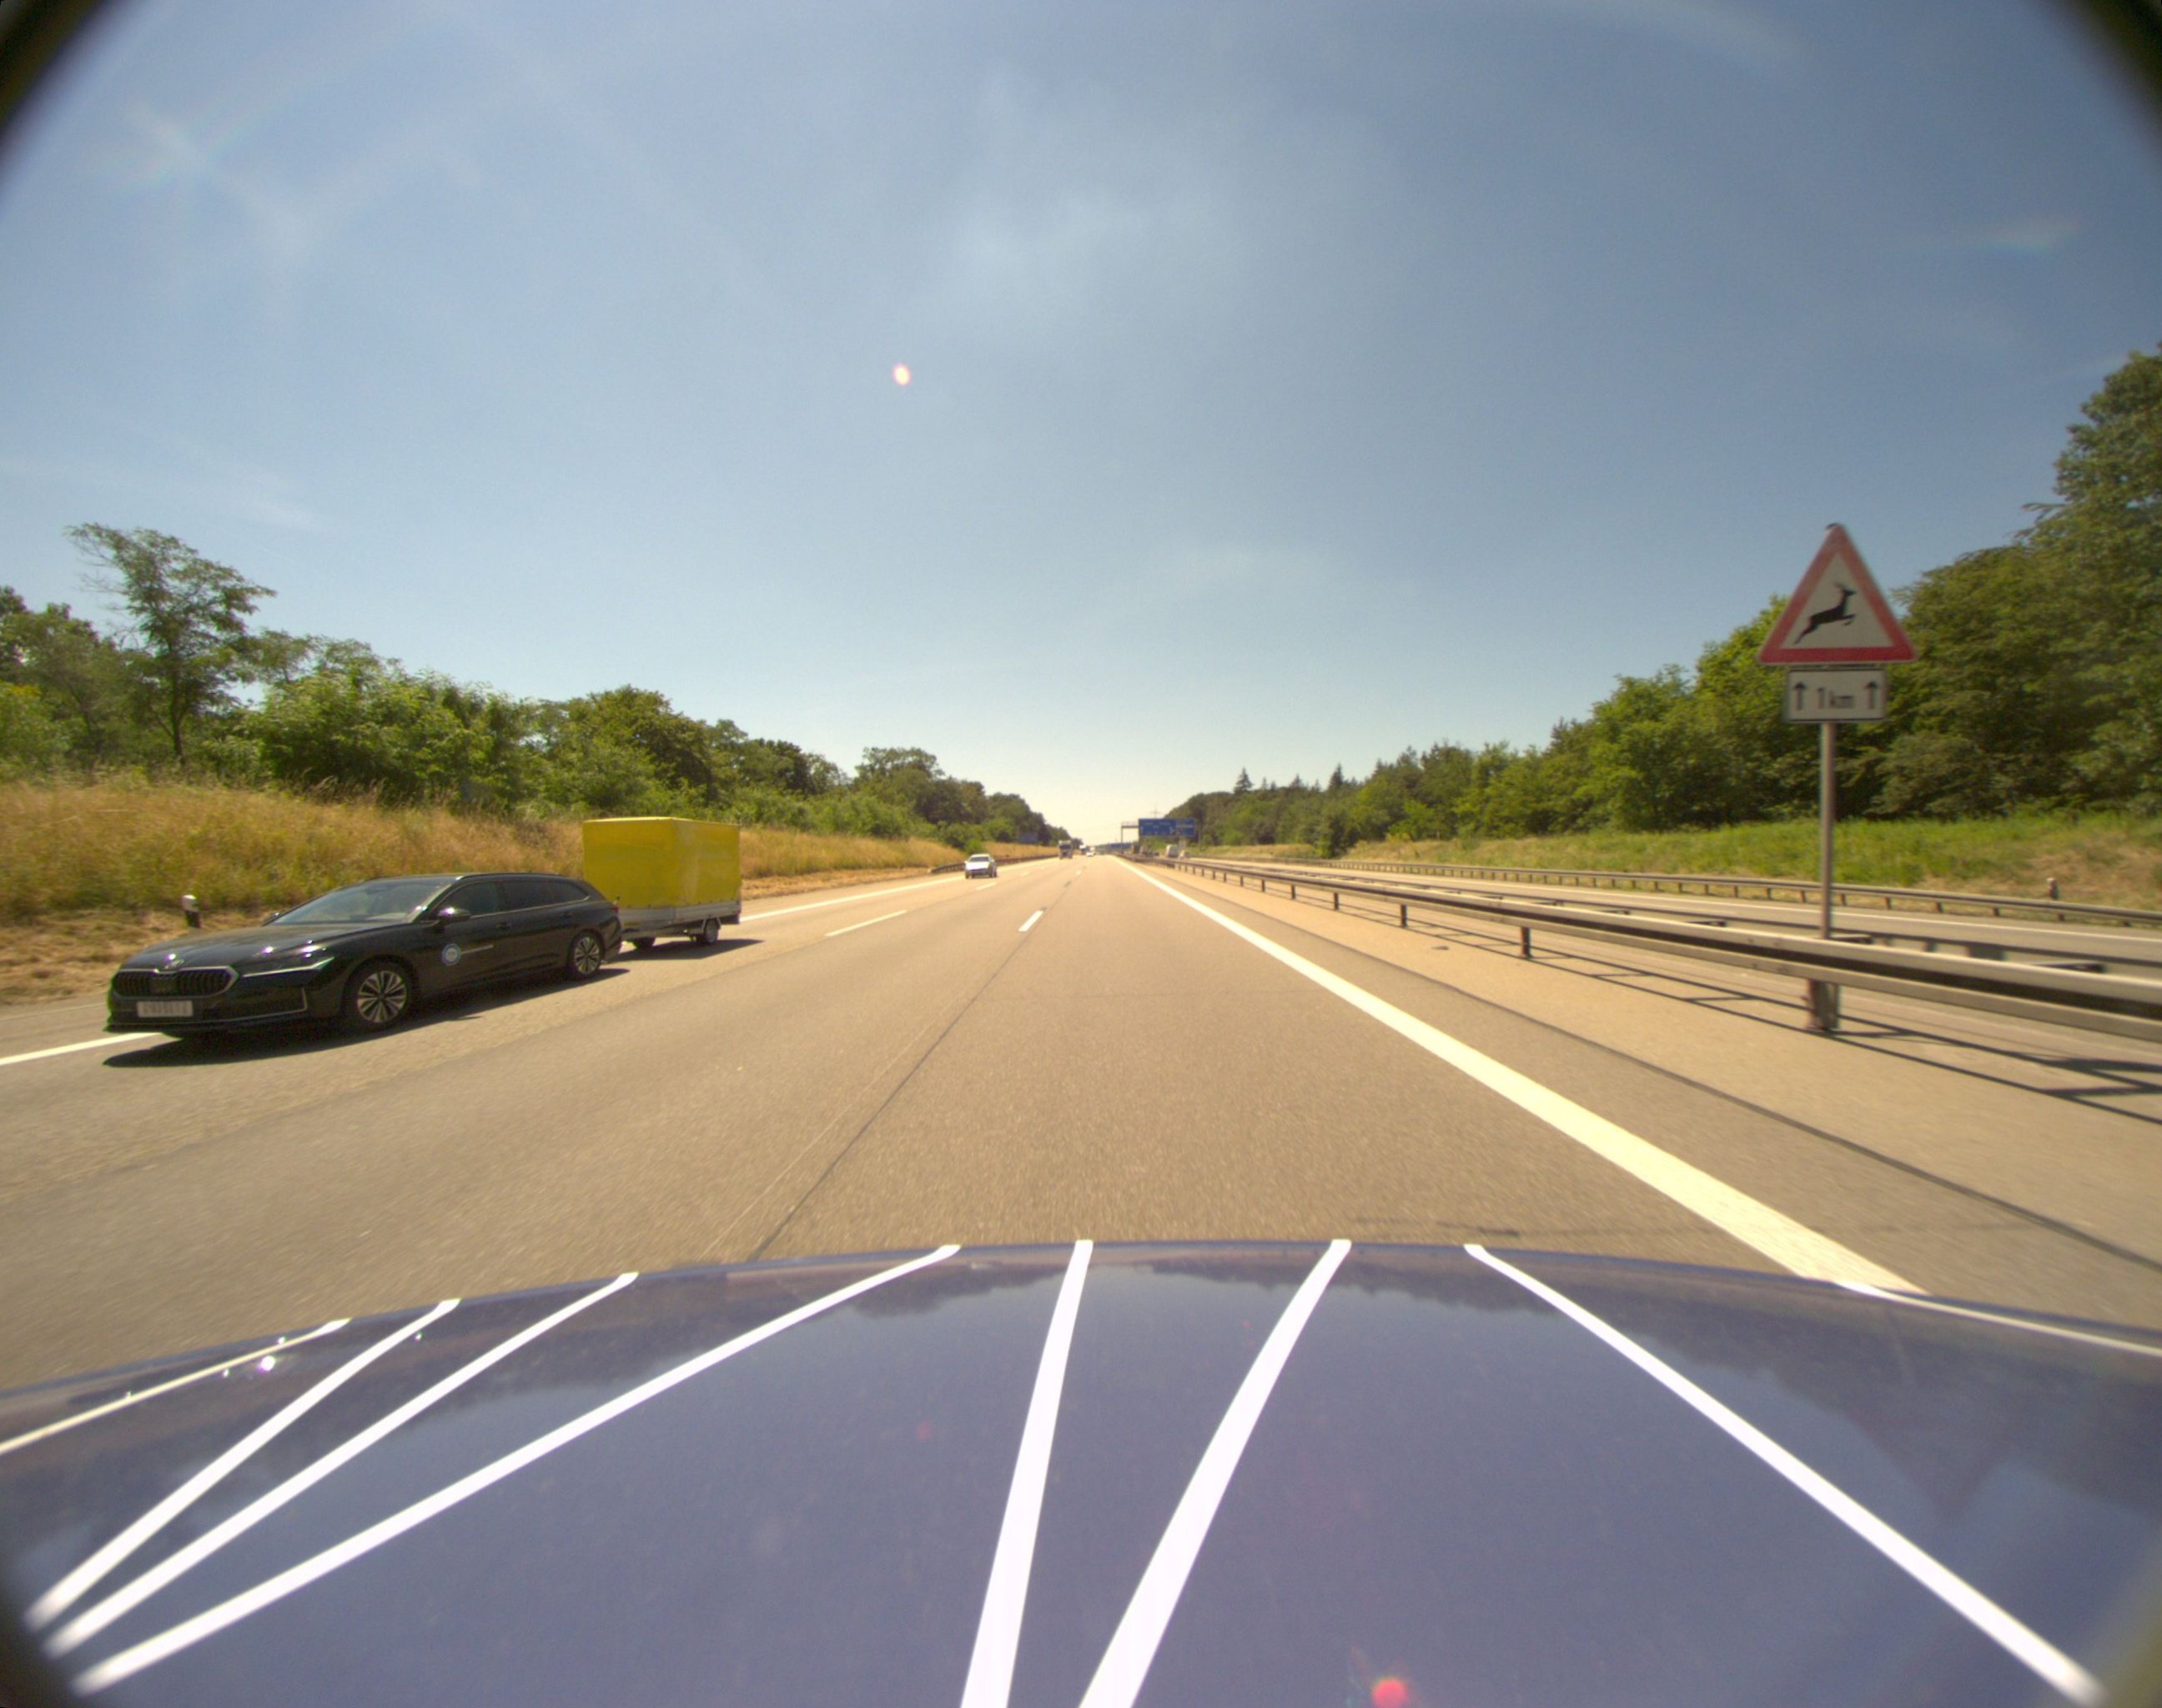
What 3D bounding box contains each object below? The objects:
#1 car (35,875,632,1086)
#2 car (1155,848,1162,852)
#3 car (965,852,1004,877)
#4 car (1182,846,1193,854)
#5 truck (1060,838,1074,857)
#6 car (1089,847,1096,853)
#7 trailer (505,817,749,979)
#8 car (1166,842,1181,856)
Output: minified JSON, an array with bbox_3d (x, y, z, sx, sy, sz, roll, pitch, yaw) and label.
[{"bbox_3d":[-7.367,1.078,8.451,1.826,1.447,4.788,-2,1,0],"label":"car"},{"bbox_3d":[25.333,-1.242,248.827,1.679,1.358,4.889,2,1,1],"label":"car"},{"bbox_3d":[-6.108,0.620,48.413,1.749,1.457,3.980,-2,1,2],"label":"car"},{"bbox_3d":[23.003,-0.839,164.693,1.706,1.651,5.116,2,1,1],"label":"car"},{"bbox_3d":[-2.848,-1.414,157.623,2.605,3.811,5.969,-2,0,2],"label":"truck"},{"bbox_3d":[3.070,-1.012,202.750,1.796,1.412,3.999,-2,1,0],"label":"car"},{"bbox_3d":[-7.357,0.617,12.830,1.707,2.276,3.839,-2,1,0],"label":"trailer"},{"bbox_3d":[18.325,-1.077,150.258,2.170,2.609,7.543,2,1,1],"label":"car"}]
